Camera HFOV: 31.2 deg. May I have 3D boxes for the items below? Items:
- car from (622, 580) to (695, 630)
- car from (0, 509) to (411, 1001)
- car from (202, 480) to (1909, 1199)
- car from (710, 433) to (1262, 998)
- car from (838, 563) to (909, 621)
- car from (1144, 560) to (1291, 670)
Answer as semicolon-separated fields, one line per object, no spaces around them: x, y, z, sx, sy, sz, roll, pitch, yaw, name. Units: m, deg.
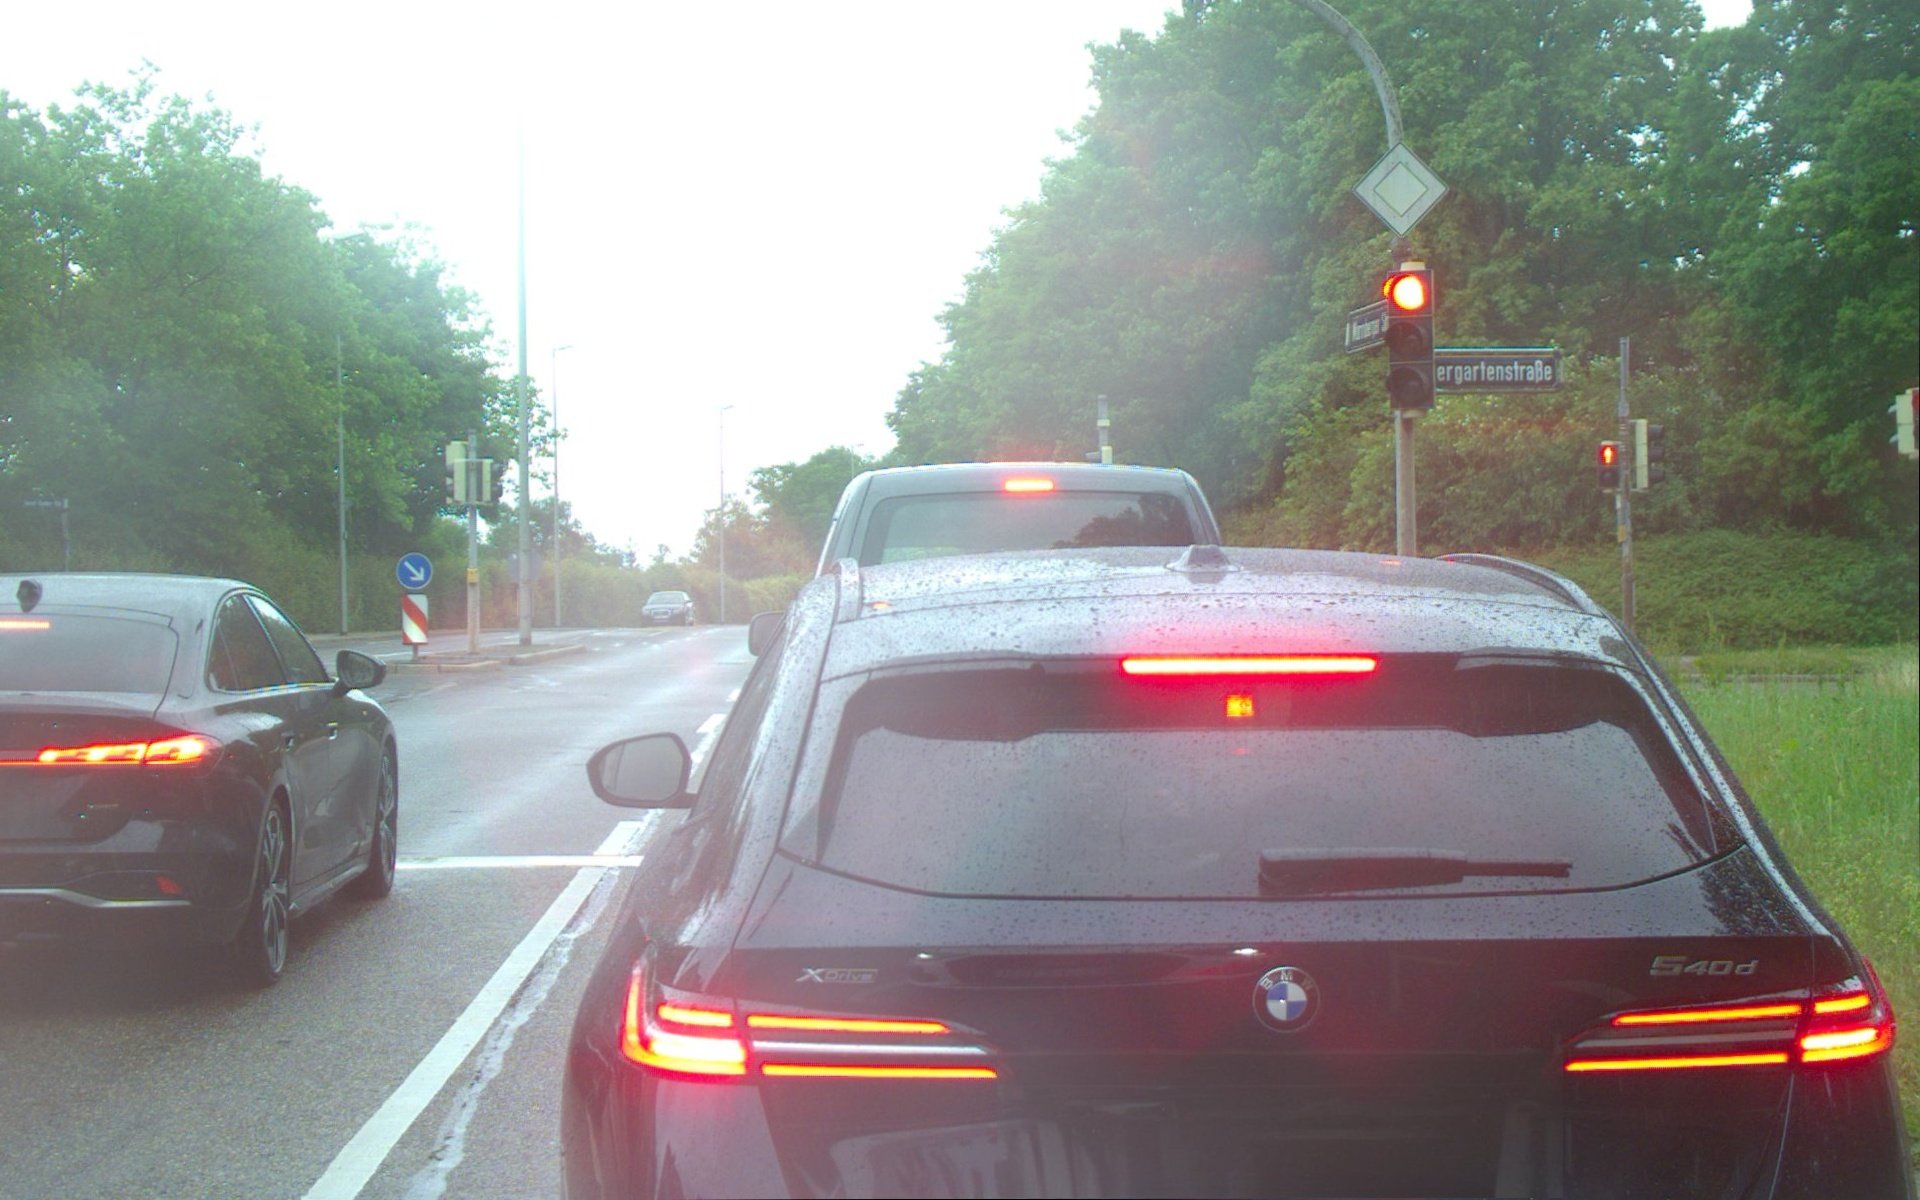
-11.581;0.182;132.203;1.994;1.820;3.999;-2;0;6;car
-3.363;0.503;13.026;1.993;1.522;4.328;-2;0;-3;car
0.211;0.649;6.135;1.898;1.546;4.614;0;0;3;car
0.082;0.368;13.335;1.818;1.862;3.952;0;0;0;car
-2.227;-0.213;89.093;1.697;1.422;3.514;-2;0;0;car
3.878;0.202;52.404;1.873;1.537;3.952;-2;0;0;car
